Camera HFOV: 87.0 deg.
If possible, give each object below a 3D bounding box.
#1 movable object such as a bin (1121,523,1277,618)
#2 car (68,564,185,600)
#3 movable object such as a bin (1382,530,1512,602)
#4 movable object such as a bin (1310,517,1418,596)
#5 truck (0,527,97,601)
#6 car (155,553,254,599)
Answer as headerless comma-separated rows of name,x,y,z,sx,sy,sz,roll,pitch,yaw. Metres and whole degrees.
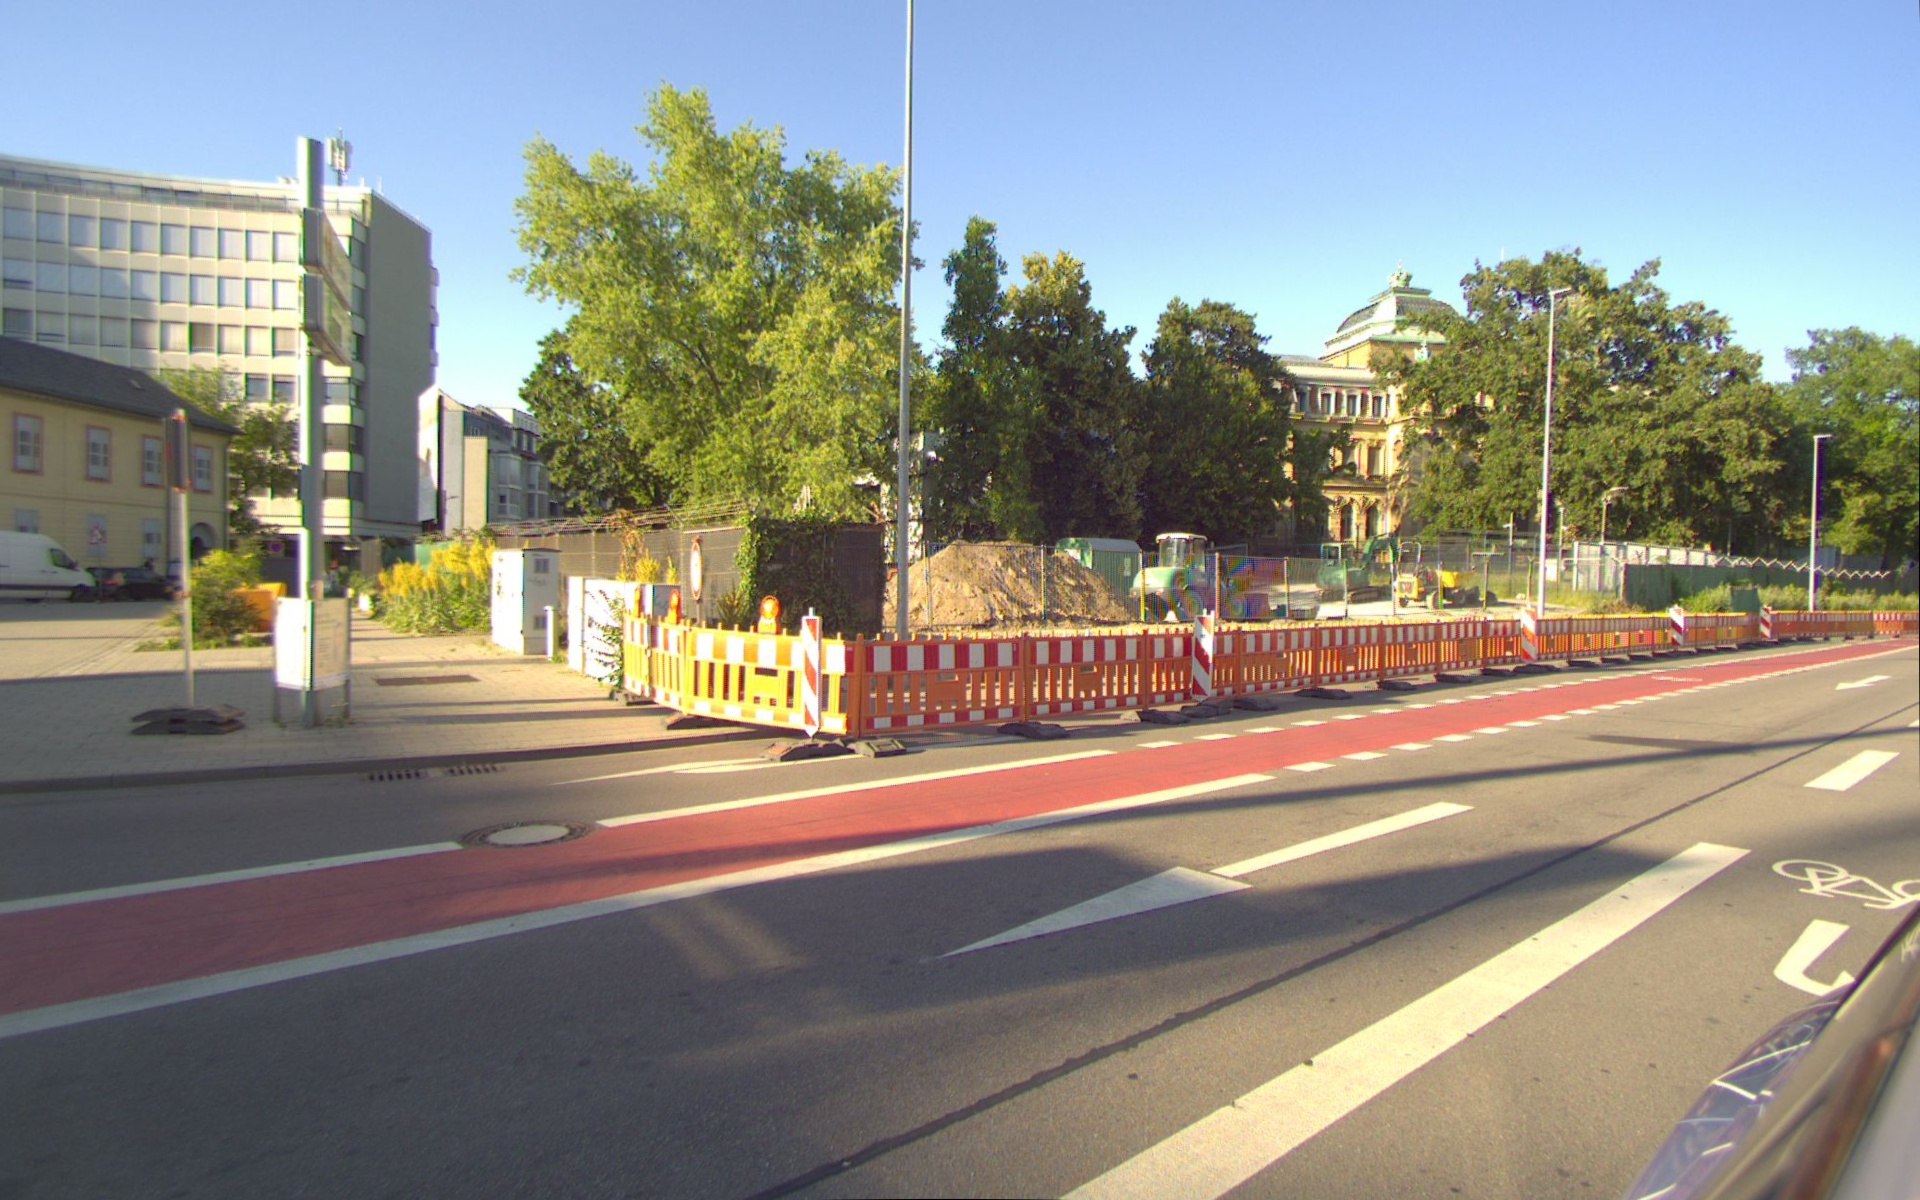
movable object such as a bin,7.436,-0.876,31.304,4.920,2.717,1.999,-1,0,-36
car,-34.343,-0.724,41.827,1.682,1.382,3.761,0,0,1
movable object such as a bin,20.424,-1.372,42.365,5.750,2.852,2.002,-1,0,-30
movable object such as a bin,18.156,-1.877,45.384,5.274,3.371,1.999,-1,0,-36
truck,-34.317,-1.246,36.068,2.258,2.581,5.638,0,0,1
car,-34.398,-1.077,46.181,1.682,2.005,3.761,0,0,1
